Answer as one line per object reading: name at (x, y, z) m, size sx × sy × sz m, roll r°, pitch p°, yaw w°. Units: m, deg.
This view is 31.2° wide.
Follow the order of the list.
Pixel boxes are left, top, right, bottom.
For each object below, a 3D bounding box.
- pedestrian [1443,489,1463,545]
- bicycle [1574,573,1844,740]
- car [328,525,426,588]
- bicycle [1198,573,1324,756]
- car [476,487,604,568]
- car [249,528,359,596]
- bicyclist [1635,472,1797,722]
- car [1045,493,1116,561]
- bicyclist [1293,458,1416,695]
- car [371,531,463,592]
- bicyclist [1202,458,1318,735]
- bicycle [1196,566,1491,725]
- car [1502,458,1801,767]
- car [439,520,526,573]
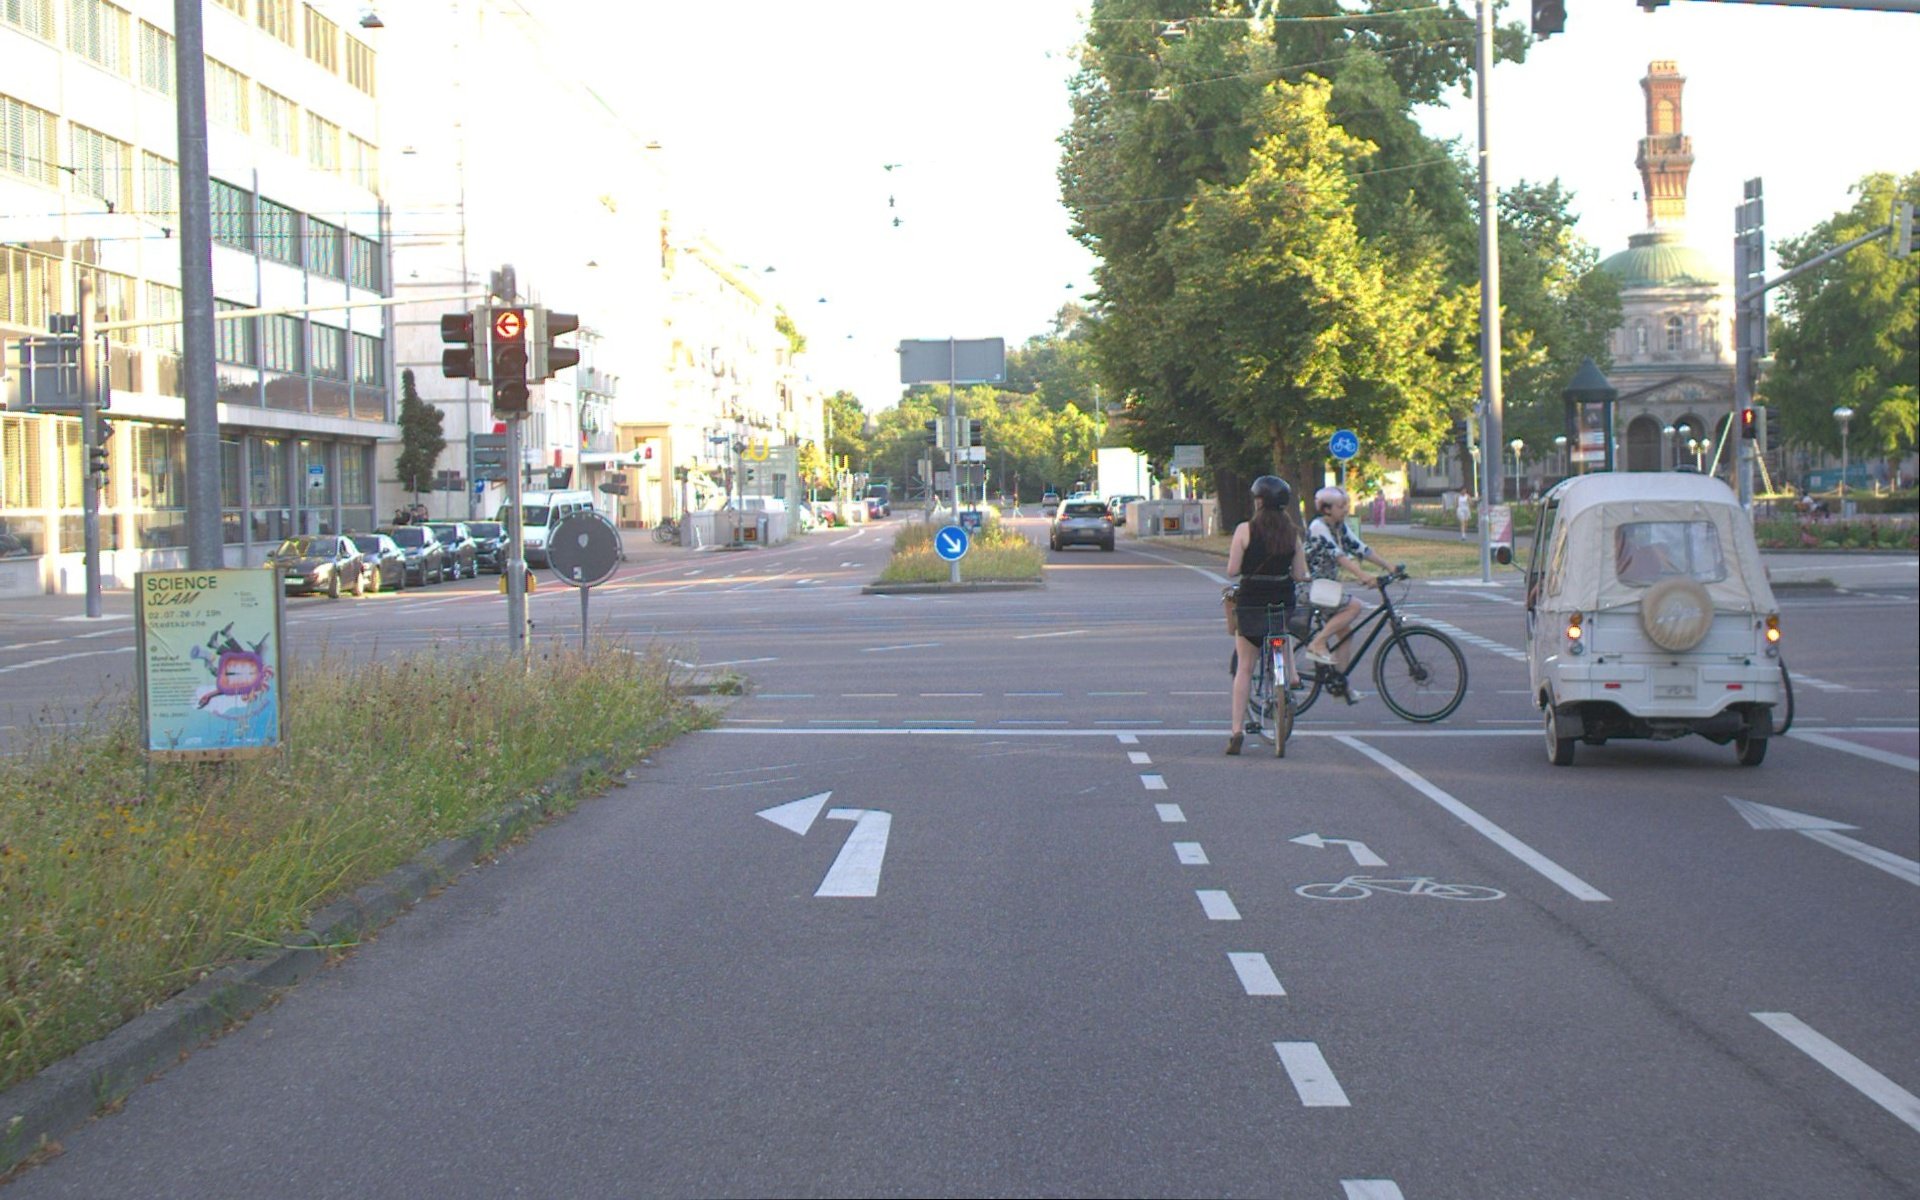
pedestrian at (14.734, -2.475, 102.758) m, size 0.508 × 1.663 × 0.531 m, roll -1°, pitch 1°, yaw 0°
bicycle at (5.174, 0.367, 23.868) m, size 0.728 × 1.065 × 1.903 m, roll 0°, pitch 2°, yaw -29°
car at (-14.884, -1.083, 87.982) m, size 1.796 × 1.470 × 4.000 m, roll -1°, pitch -1°, yaw 0°
bicycle at (1.891, 0.380, 21.812) m, size 0.637 × 1.065 × 2.069 m, roll 0°, pitch 2°, yaw 1°
car at (-13.494, -2.300, 110.853) m, size 2.178 × 2.377 × 5.986 m, roll -1°, pitch -1°, yaw 12°
car at (-15.450, -0.887, 81.178) m, size 1.796 × 1.470 × 4.000 m, roll -1°, pitch -1°, yaw 0°
bicyclist at (5.223, -0.031, 23.770) m, size 0.762 × 1.687 × 0.748 m, roll -2°, pitch 1°, yaw -29°
car at (3.714, -2.282, 106.490) m, size 1.993 × 2.006 × 4.000 m, roll -1°, pitch 2°, yaw 0°
bicyclist at (2.870, -0.177, 24.990) m, size 0.746 × 1.687 × 0.715 m, roll -1°, pitch 1°, yaw 16°
car at (-14.578, -1.018, 92.478) m, size 1.796 × 1.470 × 4.000 m, roll -1°, pitch -1°, yaw 0°
bicyclist at (1.870, -0.031, 21.486) m, size 0.628 × 1.687 × 0.748 m, roll -1°, pitch 1°, yaw 0°
bicycle at (2.797, 0.317, 25.040) m, size 2.017 × 1.065 × 0.730 m, roll 2°, pitch 2°, yaw 17°
car at (4.216, 0.023, 21.234) m, size 1.459 × 1.774 × 2.564 m, roll 0°, pitch 3°, yaw 3°
car at (-14.459, -1.603, 104.290) m, size 1.796 × 1.470 × 3.999 m, roll -1°, pitch -1°, yaw 4°
